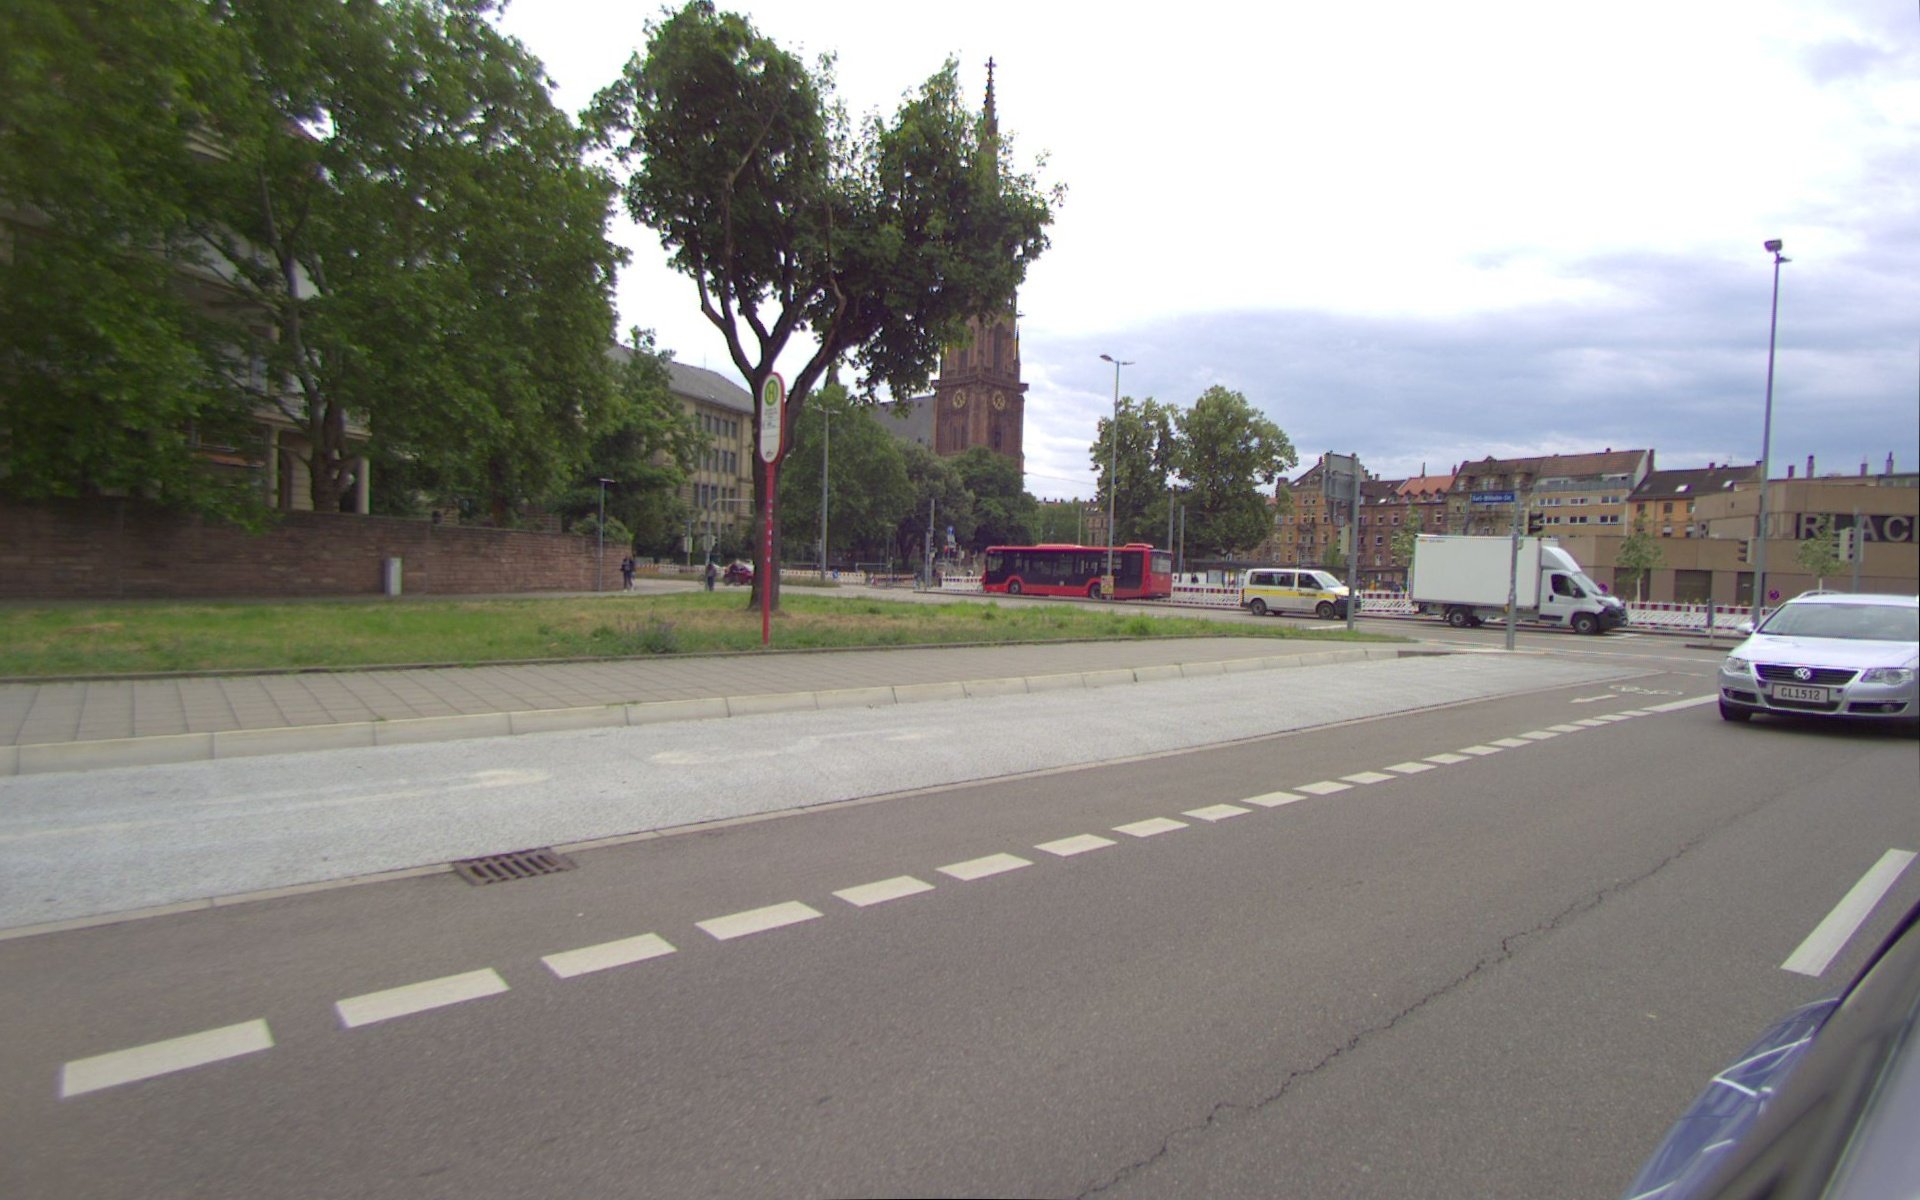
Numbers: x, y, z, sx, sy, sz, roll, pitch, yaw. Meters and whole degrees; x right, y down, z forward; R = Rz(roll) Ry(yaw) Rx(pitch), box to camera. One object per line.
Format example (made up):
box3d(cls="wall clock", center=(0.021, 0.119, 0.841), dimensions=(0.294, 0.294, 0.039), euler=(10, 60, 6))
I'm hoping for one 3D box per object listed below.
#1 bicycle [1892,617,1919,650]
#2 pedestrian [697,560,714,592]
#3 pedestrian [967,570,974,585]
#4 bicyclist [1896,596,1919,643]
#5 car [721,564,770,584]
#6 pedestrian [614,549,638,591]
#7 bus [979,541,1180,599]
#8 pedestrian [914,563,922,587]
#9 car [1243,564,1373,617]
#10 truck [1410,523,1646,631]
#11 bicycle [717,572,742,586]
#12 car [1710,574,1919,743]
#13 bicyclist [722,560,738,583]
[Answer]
box3d(cls="bicycle", center=(34.720, 1.215, 36.846), dimensions=(1.831, 1.143, 0.695), euler=(2, 3, -34))
box3d(cls="pedestrian", center=(-13.738, -1.305, 54.685), dimensions=(0.678, 1.658, 0.874), euler=(2, 1, -27))
box3d(cls="pedestrian", center=(0.898, -1.871, 84.062), dimensions=(0.365, 1.210, 0.373), euler=(1, 3, -42))
box3d(cls="bicyclist", center=(34.739, 0.710, 36.828), dimensions=(0.867, 1.655, 0.695), euler=(2, 3, -34))
box3d(cls="car", center=(-15.126, -1.826, 71.391), dimensions=(3.519, 1.170, 1.428), euler=(5, 3, 37))
box3d(cls="pedestrian", center=(-14.439, -1.303, 43.742), dimensions=(0.742, 1.756, 0.824), euler=(3, 2, -6))
box3d(cls="bus", center=(6.389, -1.792, 56.955), dimensions=(2.889, 2.944, 12.069), euler=(1, 2, -44))
box3d(cls="pedestrian", center=(-3.199, -1.893, 76.460), dimensions=(0.365, 1.726, 0.373), euler=(1, 3, -42))
box3d(cls="car", center=(14.179, -0.459, 41.408), dimensions=(1.888, 1.942, 4.707), euler=(-2, 4, -42))
box3d(cls="truck", center=(19.883, -0.888, 35.766), dimensions=(6.835, 3.453, 2.520), euler=(3, 3, 45))
box3d(cls="bicycle", center=(-15.606, -1.423, 68.470), dimensions=(1.810, 0.830, 0.594), euler=(5, 3, 35))
box3d(cls="car", center=(10.420, 0.557, 11.538), dimensions=(4.443, 1.570, 1.830), euler=(1, 2, -38))
box3d(cls="bicyclist", center=(-15.562, -1.940, 68.438), dimensions=(0.777, 1.540, 0.594), euler=(5, 3, 34))
